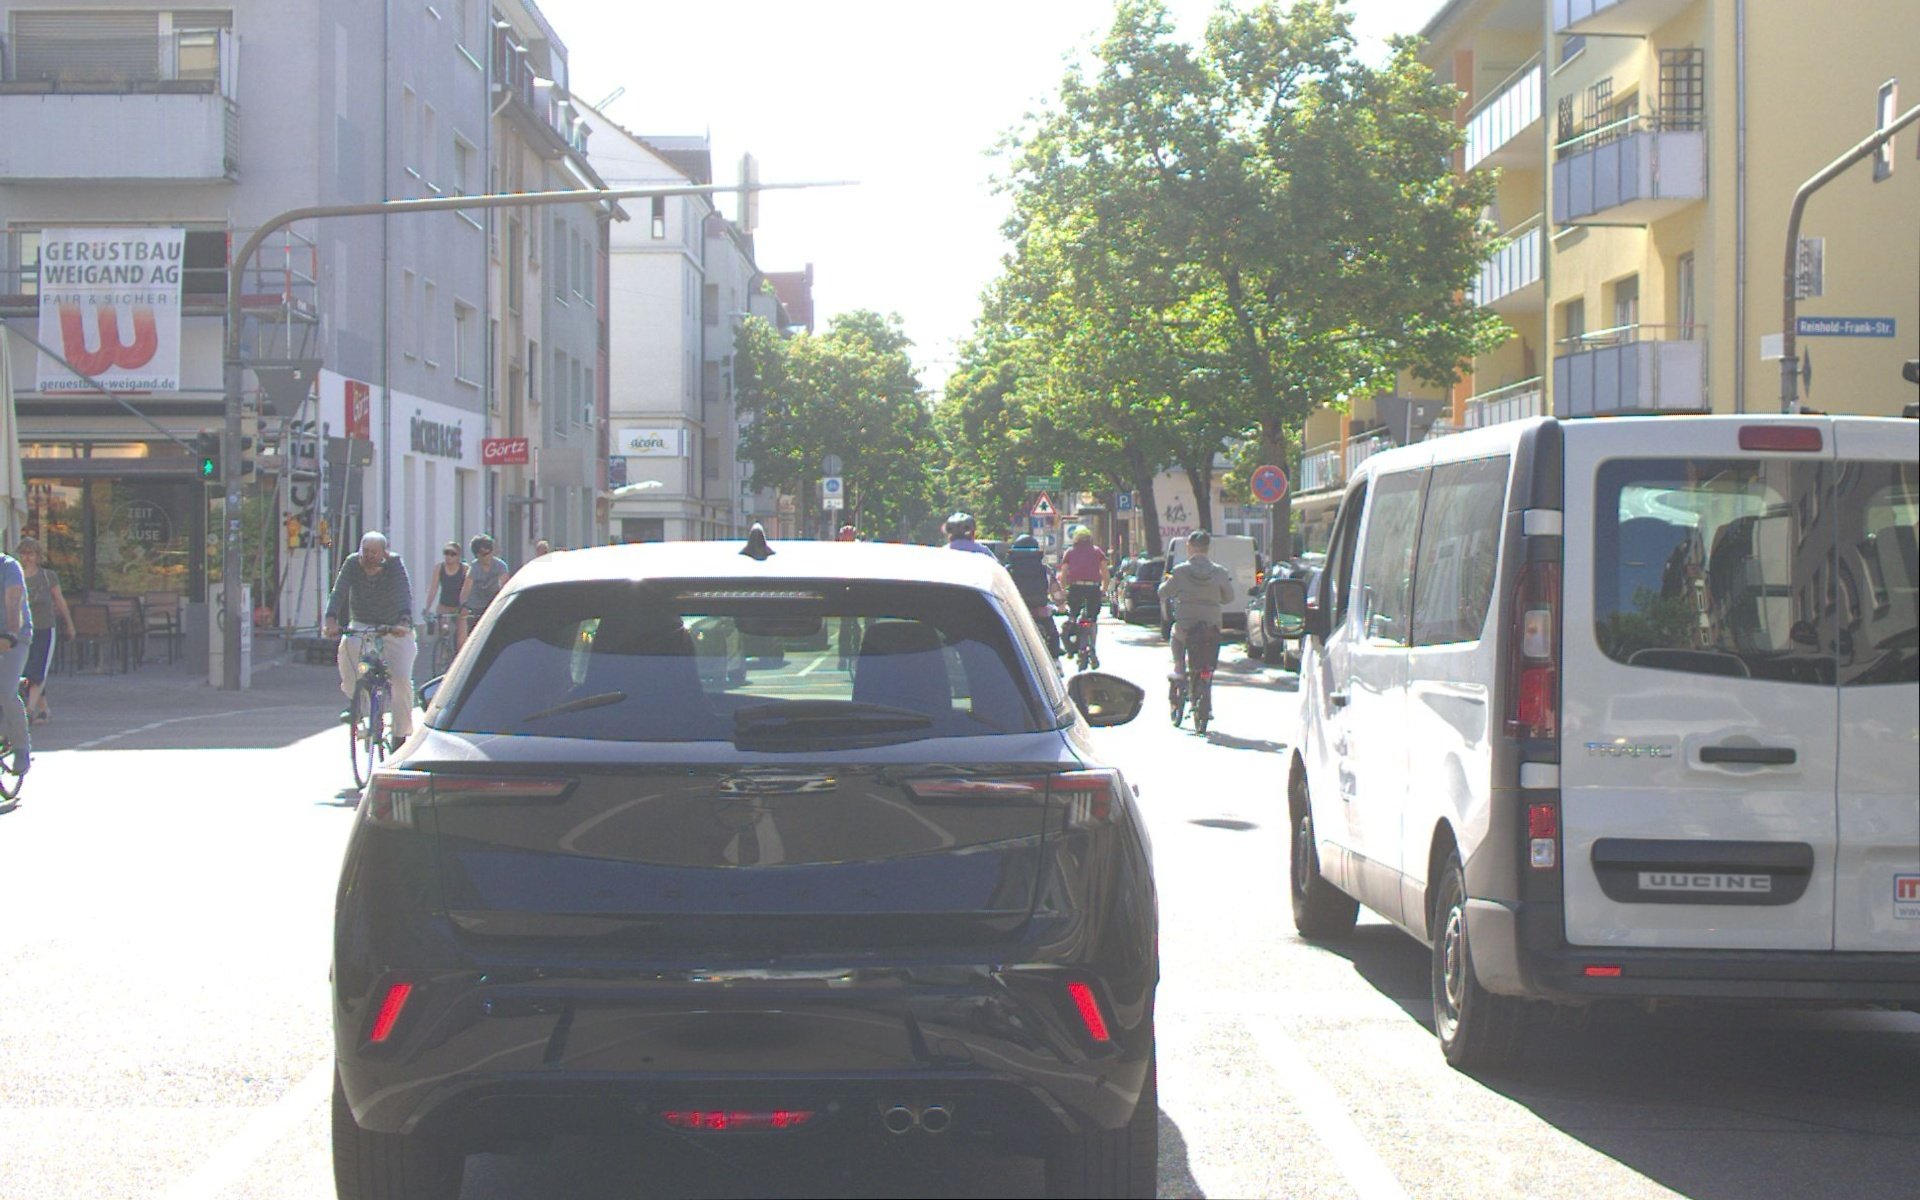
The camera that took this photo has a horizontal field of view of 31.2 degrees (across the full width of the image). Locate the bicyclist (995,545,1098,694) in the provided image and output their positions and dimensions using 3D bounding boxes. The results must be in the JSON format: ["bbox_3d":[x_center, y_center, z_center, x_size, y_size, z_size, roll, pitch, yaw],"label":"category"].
[{"bbox_3d":[0.792,0.167,31.758,0.856,1.310,1.210,2,1,-1],"label":"bicyclist"}]

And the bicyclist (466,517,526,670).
[{"bbox_3d":[-4.264,-0.063,31.582,0.542,1.386,0.788,0,1,-8],"label":"bicyclist"}]

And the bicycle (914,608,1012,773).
[{"bbox_3d":[0.010,0.593,23.387,0.632,1.038,1.795,0,1,-1],"label":"bicycle"}]

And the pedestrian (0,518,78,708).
[{"bbox_3d":[-7.718,0.102,28.725,0.531,1.576,0.563,0,1,2],"label":"pedestrian"}]

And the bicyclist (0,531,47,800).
[{"bbox_3d":[-6.103,0.394,21.177,0.679,1.625,0.899,-1,1,0],"label":"bicyclist"}]

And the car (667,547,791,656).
[{"bbox_3d":[-3.439,0.013,51.745,1.592,1.560,4.089,-1,0,0],"label":"car"}]

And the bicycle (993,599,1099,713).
[{"bbox_3d":[0.775,0.500,31.827,0.856,0.942,2.307,2,1,-1],"label":"bicycle"}]

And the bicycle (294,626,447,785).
[{"bbox_3d":[-3.908,0.681,22.922,0.679,0.949,1.934,-1,1,-1],"label":"bicycle"}]

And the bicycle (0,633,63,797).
[{"bbox_3d":[-6.099,0.707,21.079,0.679,0.949,1.934,-1,1,-1],"label":"bicycle"}]

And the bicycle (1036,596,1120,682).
[{"bbox_3d":[1.400,0.454,41.180,0.856,0.942,2.307,2,1,-1],"label":"bicycle"}]

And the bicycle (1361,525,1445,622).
[{"bbox_3d":[4.055,-0.249,31.537,0.547,0.863,1.876,0,1,1],"label":"bicycle"}]

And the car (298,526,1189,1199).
[{"bbox_3d":[-0.456,0.613,8.825,1.762,1.553,4.000,0,1,-1],"label":"car"}]

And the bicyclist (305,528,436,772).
[{"bbox_3d":[-3.909,0.318,22.848,0.679,1.571,0.899,-1,1,0],"label":"bicyclist"}]

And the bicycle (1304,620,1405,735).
[{"bbox_3d":[3.202,0.614,28.023,0.620,0.863,1.876,0,1,1],"label":"bicycle"}]

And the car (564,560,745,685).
[{"bbox_3d":[-3.667,0.242,41.925,1.837,1.429,4.177,0,1,0],"label":"car"}]

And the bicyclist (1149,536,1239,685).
[{"bbox_3d":[1.892,0.078,27.860,0.692,1.189,0.595,0,1,1],"label":"bicyclist"}]

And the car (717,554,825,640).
[{"bbox_3d":[-3.324,-0.075,60.726,1.804,1.408,4.426,-2,1,-3],"label":"car"}]

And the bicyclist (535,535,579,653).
[{"bbox_3d":[-5.334,-0.084,45.459,0.553,1.543,0.815,1,1,-7],"label":"bicyclist"}]

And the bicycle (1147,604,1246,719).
[{"bbox_3d":[1.900,0.485,27.808,0.691,0.863,1.876,0,1,1],"label":"bicycle"}]

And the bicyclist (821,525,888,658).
[{"bbox_3d":[-1.319,-0.117,43.122,0.801,1.644,1.125,0,1,0],"label":"bicyclist"}]

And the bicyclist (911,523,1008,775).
[{"bbox_3d":[-0.012,0.317,23.347,0.632,1.663,1.050,0,1,-1],"label":"bicyclist"}]

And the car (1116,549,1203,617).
[{"bbox_3d":[4.412,-0.396,76.454,1.712,1.478,3.381,0,1,0],"label":"car"}]

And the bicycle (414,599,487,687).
[{"bbox_3d":[-5.546,0.459,37.500,0.542,0.899,1.826,0,1,-1],"label":"bicycle"}]

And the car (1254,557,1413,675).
[{"bbox_3d":[4.906,0.181,45.551,1.712,1.478,3.480,0,1,0],"label":"car"}]

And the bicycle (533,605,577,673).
[{"bbox_3d":[-5.342,0.507,45.377,0.553,0.831,2.132,1,1,-7],"label":"bicycle"}]

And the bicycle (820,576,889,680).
[{"bbox_3d":[-1.317,0.336,43.091,0.801,1.251,2.139,0,1,0],"label":"bicycle"}]

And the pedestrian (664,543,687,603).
[{"bbox_3d":[-7.616,-0.727,92.032,0.577,1.577,0.708,0,1,-6],"label":"pedestrian"}]

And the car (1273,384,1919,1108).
[{"bbox_3d":[2.354,0.382,11.860,1.968,1.933,5.056,2,1,-1],"label":"car"}]

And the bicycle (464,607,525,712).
[{"bbox_3d":[-4.264,0.530,31.552,0.542,0.899,1.826,0,1,-7],"label":"bicycle"}]

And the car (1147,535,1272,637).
[{"bbox_3d":[4.617,-0.290,64.224,2.046,1.840,4.584,0,1,1],"label":"car"}]

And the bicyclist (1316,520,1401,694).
[{"bbox_3d":[3.201,0.052,27.656,0.588,1.378,0.823,0,1,1],"label":"bicyclist"}]

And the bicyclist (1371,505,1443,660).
[{"bbox_3d":[4.030,-0.165,31.021,0.547,1.378,0.823,0,1,1],"label":"bicyclist"}]

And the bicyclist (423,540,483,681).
[{"bbox_3d":[-5.542,0.107,37.609,0.542,1.515,0.774,0,1,-1],"label":"bicyclist"}]

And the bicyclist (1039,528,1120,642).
[{"bbox_3d":[1.425,-0.186,41.077,0.856,1.310,1.210,2,1,-1],"label":"bicyclist"}]
